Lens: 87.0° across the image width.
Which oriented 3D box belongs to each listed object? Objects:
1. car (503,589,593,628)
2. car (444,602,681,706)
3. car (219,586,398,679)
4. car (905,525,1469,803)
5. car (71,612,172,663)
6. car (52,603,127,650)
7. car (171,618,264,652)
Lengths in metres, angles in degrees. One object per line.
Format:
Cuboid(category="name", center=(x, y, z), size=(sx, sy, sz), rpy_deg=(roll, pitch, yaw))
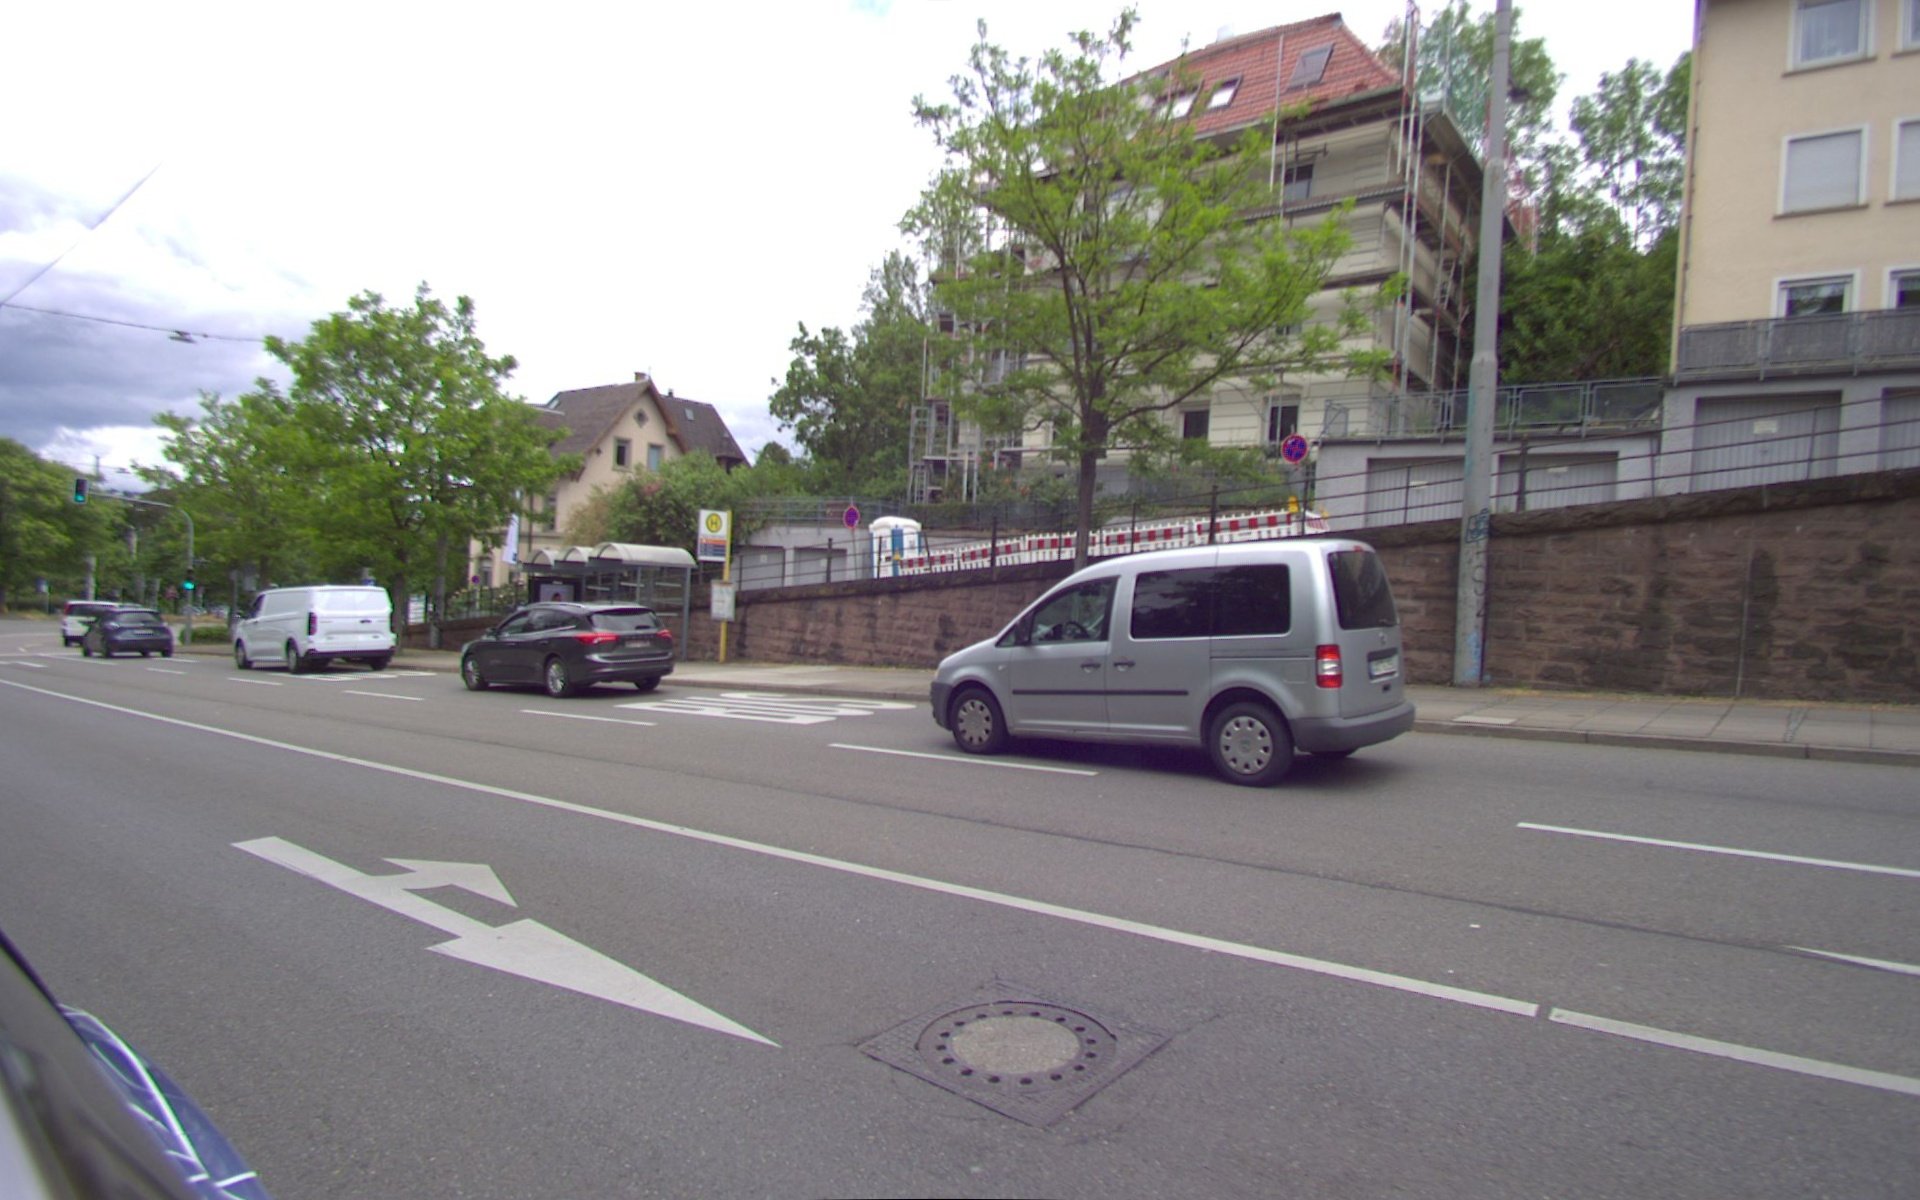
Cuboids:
Cuboid(category="car", center=(-16.364, 0.345, 40.137), size=(3.630, 1.432, 1.688), rpy_deg=(0, -4, 39))
Cuboid(category="car", center=(-6.708, 0.830, 16.827), size=(4.608, 1.484, 1.640), rpy_deg=(-1, 0, 40))
Cuboid(category="car", center=(-15.819, 0.766, 24.455), size=(5.417, 2.029, 1.974), rpy_deg=(-2, -1, 38))
Cuboid(category="car", center=(1.756, 0.432, 8.831), size=(4.449, 1.828, 1.837), rpy_deg=(-1, 1, 42))
Cuboid(category="car", center=(-26.401, 1.159, 31.826), size=(3.796, 1.503, 1.678), rpy_deg=(-1, -1, 38))
Cuboid(category="car", center=(-36.871, 1.138, 42.956), size=(1.769, 1.878, 4.863), rpy_deg=(2, -2, -34))
Cuboid(category="car", center=(-33.861, 1.623, 46.217), size=(1.547, 1.484, 3.094), rpy_deg=(-1, -3, 39))
